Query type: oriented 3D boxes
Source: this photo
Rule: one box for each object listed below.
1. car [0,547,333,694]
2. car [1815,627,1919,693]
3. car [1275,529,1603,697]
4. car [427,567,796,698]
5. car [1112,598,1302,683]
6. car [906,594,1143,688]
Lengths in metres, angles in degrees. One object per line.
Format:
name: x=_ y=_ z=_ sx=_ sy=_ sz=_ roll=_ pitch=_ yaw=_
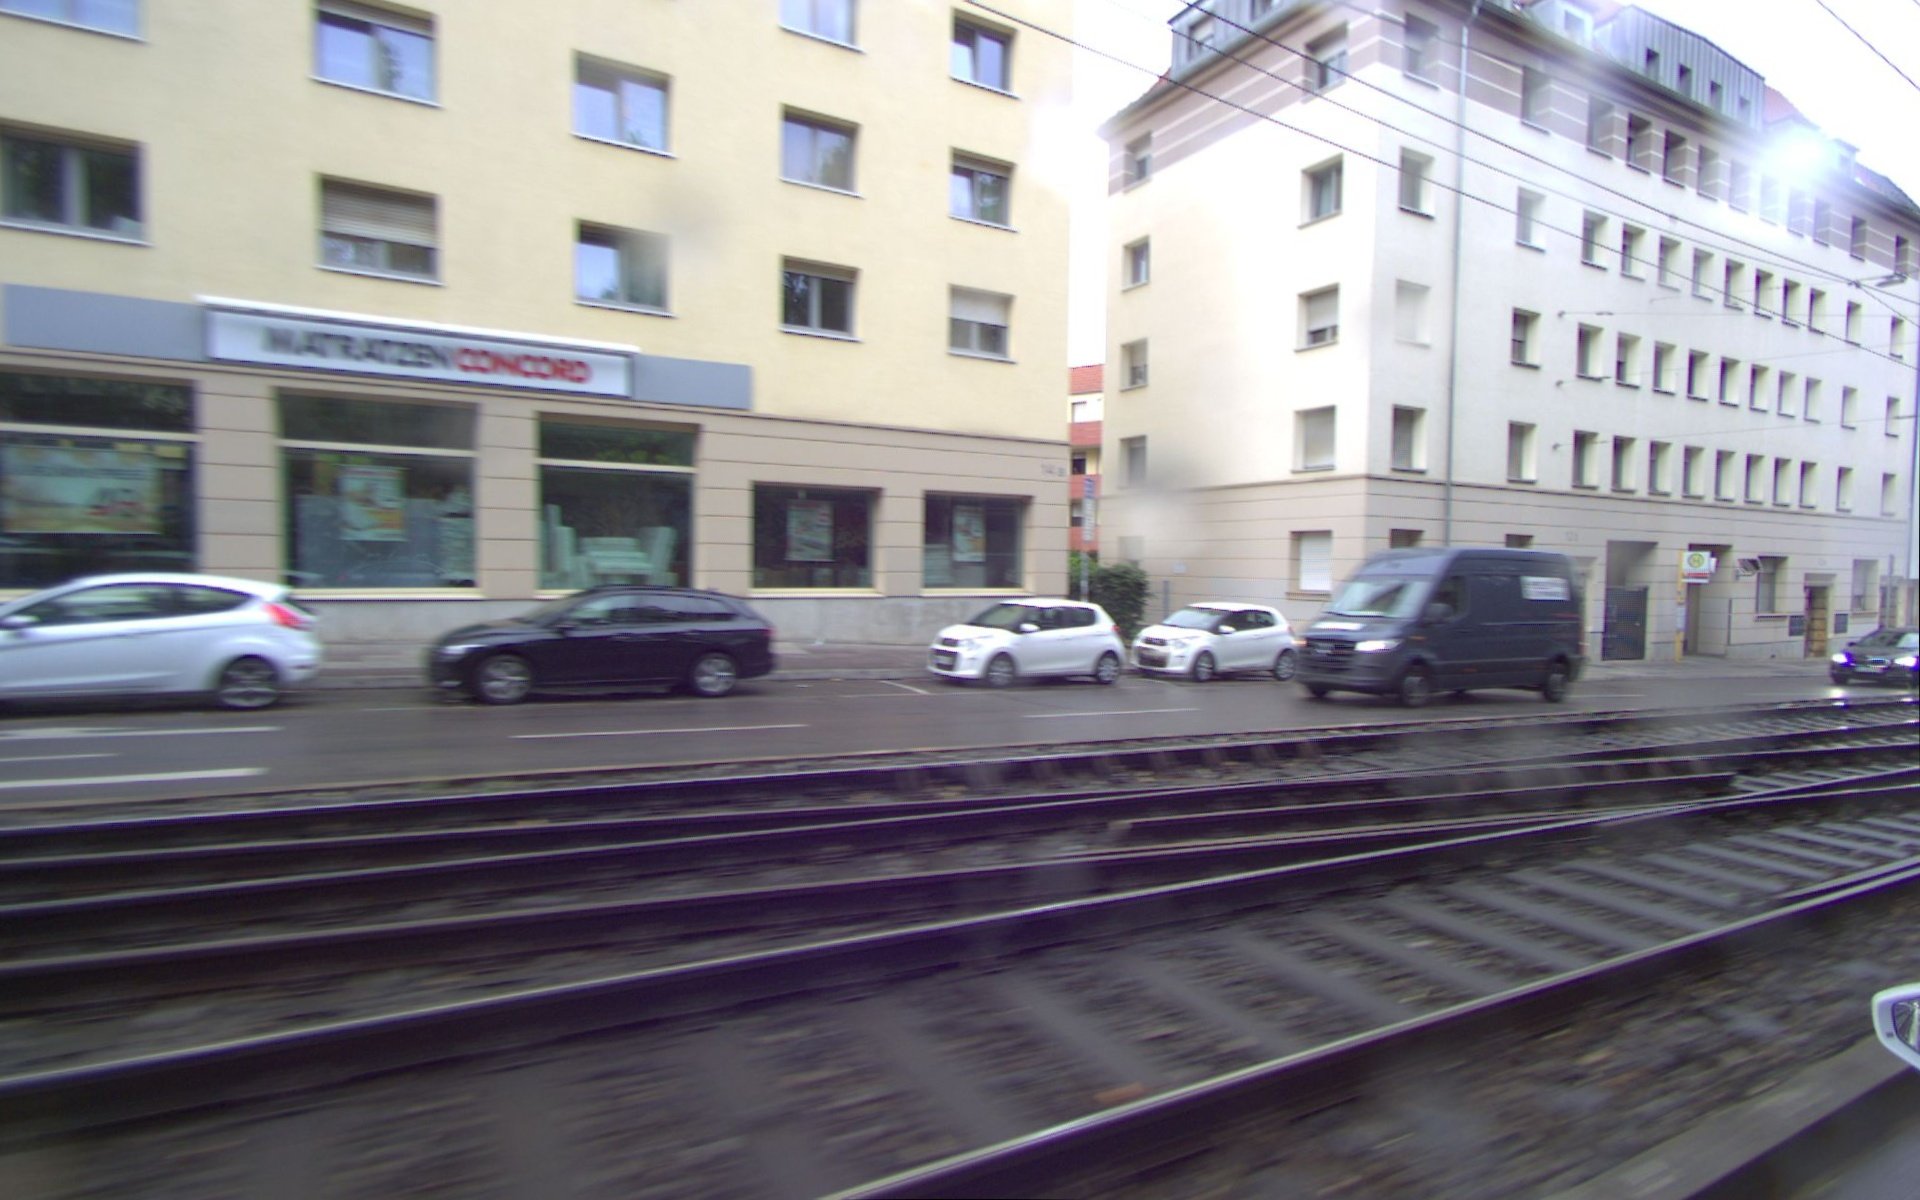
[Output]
car: x=-9.319 y=0.248 z=11.085 sx=4.007 sy=1.458 sz=1.681 roll=2 pitch=-3 yaw=-34
car: x=24.546 y=1.535 z=26.220 sx=4.797 sy=1.506 sz=1.871 roll=2 pitch=1 yaw=-30
car: x=8.283 y=0.308 z=17.153 sx=5.929 sy=2.484 sz=1.984 roll=3 pitch=0 yaw=-30
car: x=-4.748 y=0.427 z=13.877 sx=4.530 sy=1.519 sz=1.804 roll=2 pitch=2 yaw=-31
car: x=4.978 y=0.804 z=20.127 sx=3.504 sy=1.469 sz=1.698 roll=2 pitch=3 yaw=-33
car: x=1.177 y=0.698 z=17.727 sx=3.892 sy=1.415 sz=1.694 roll=2 pitch=3 yaw=-32
